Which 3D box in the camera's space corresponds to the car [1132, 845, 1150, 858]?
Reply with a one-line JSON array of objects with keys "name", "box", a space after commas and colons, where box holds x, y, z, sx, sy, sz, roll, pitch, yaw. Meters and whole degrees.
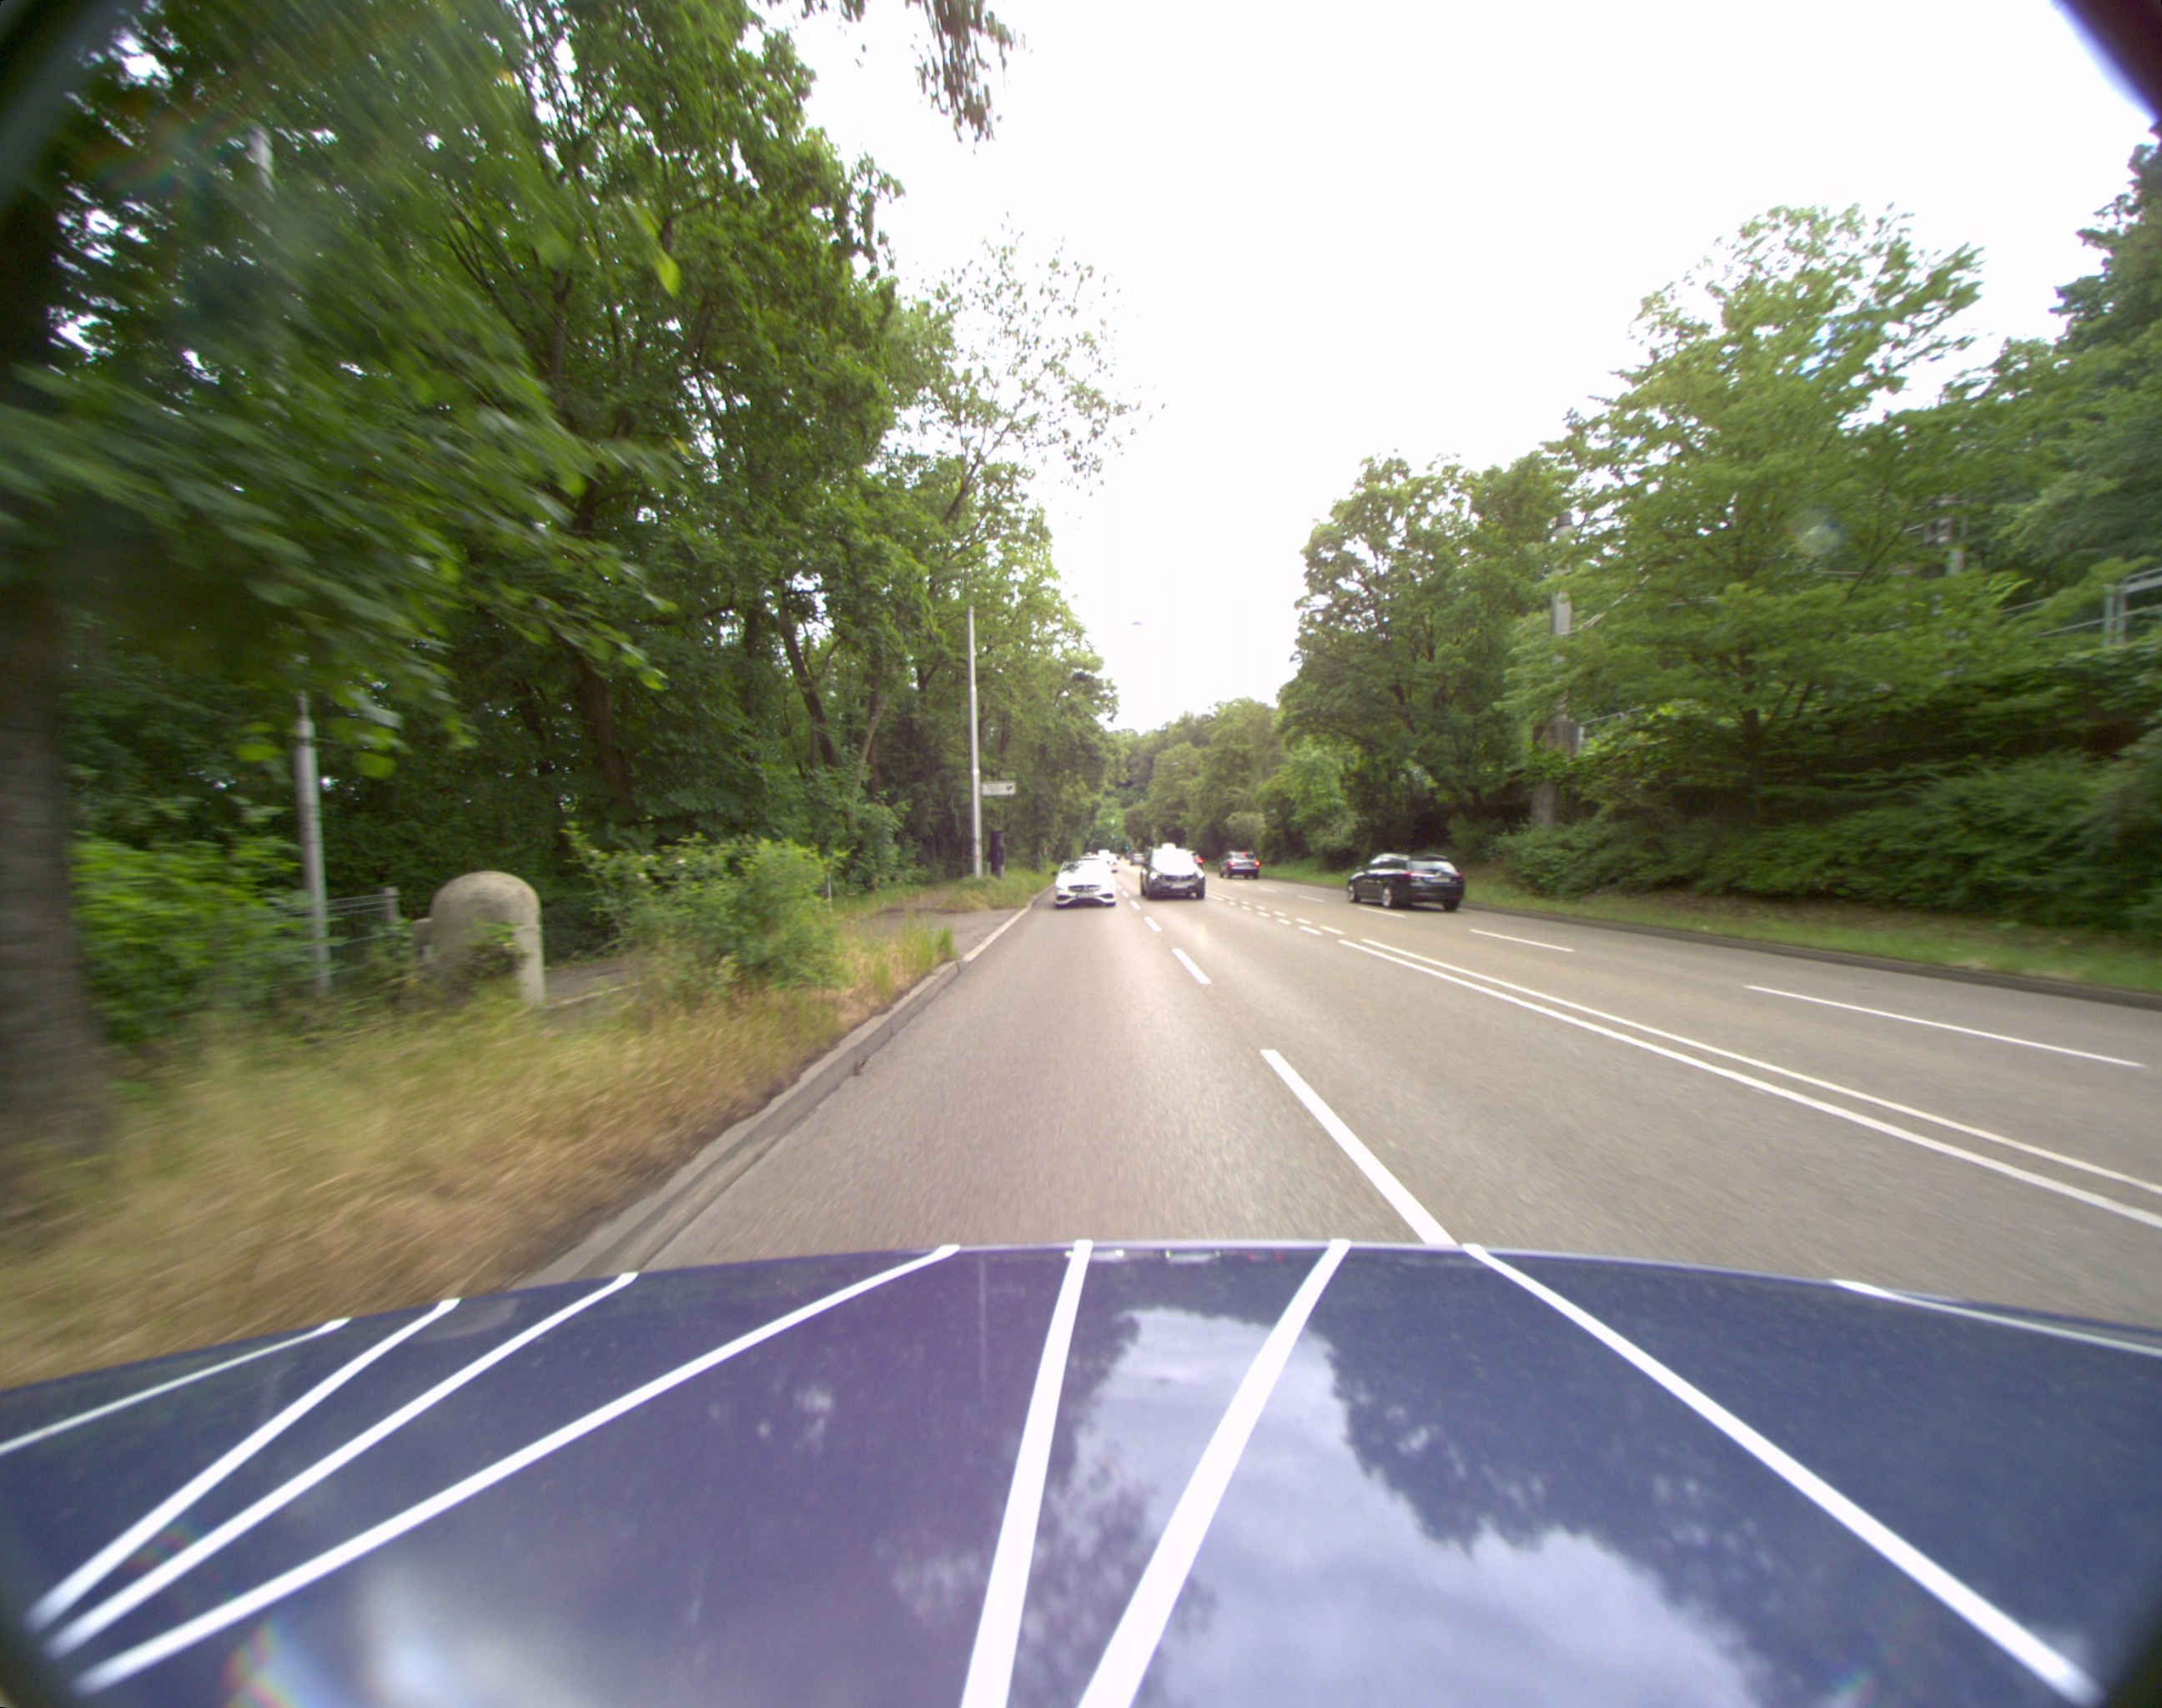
[{"name": "car", "box": [7.417, -0.296, 94.237, 1.843, 1.457, 4.465, -3, 1, 1]}]

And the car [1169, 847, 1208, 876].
[{"name": "car", "box": [6.490, 0.411, 46.381, 1.814, 1.652, 4.830, -1, 1, 2]}]

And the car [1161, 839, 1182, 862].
[{"name": "car", "box": [10.432, -0.461, 87.956, 1.892, 2.541, 4.914, 1, 1, 1]}]

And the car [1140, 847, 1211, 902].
[{"name": "car", "box": [3.075, 0.599, 25.558, 1.871, 1.653, 4.192, 1, 1, 1]}]

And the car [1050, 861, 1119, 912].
[{"name": "car", "box": [0.121, 0.925, 23.342, 1.897, 1.289, 4.327, -2, 1, 1]}]

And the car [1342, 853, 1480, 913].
[{"name": "car", "box": [8.954, 0.719, 21.107, 1.918, 1.459, 4.529, 1, 0, 1]}]

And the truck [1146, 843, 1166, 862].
[{"name": "truck", "box": [10.246, -0.261, 104.157, 2.182, 2.397, 6.465, 2, 1, 2]}]

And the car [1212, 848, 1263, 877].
[{"name": "car", "box": [9.353, 0.452, 45.676, 1.797, 1.602, 4.186, 1, 1, -6]}]

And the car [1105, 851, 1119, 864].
[{"name": "car", "box": [4.239, 0.446, 104.111, 1.697, 1.573, 3.999, -2, 1, 0]}]
